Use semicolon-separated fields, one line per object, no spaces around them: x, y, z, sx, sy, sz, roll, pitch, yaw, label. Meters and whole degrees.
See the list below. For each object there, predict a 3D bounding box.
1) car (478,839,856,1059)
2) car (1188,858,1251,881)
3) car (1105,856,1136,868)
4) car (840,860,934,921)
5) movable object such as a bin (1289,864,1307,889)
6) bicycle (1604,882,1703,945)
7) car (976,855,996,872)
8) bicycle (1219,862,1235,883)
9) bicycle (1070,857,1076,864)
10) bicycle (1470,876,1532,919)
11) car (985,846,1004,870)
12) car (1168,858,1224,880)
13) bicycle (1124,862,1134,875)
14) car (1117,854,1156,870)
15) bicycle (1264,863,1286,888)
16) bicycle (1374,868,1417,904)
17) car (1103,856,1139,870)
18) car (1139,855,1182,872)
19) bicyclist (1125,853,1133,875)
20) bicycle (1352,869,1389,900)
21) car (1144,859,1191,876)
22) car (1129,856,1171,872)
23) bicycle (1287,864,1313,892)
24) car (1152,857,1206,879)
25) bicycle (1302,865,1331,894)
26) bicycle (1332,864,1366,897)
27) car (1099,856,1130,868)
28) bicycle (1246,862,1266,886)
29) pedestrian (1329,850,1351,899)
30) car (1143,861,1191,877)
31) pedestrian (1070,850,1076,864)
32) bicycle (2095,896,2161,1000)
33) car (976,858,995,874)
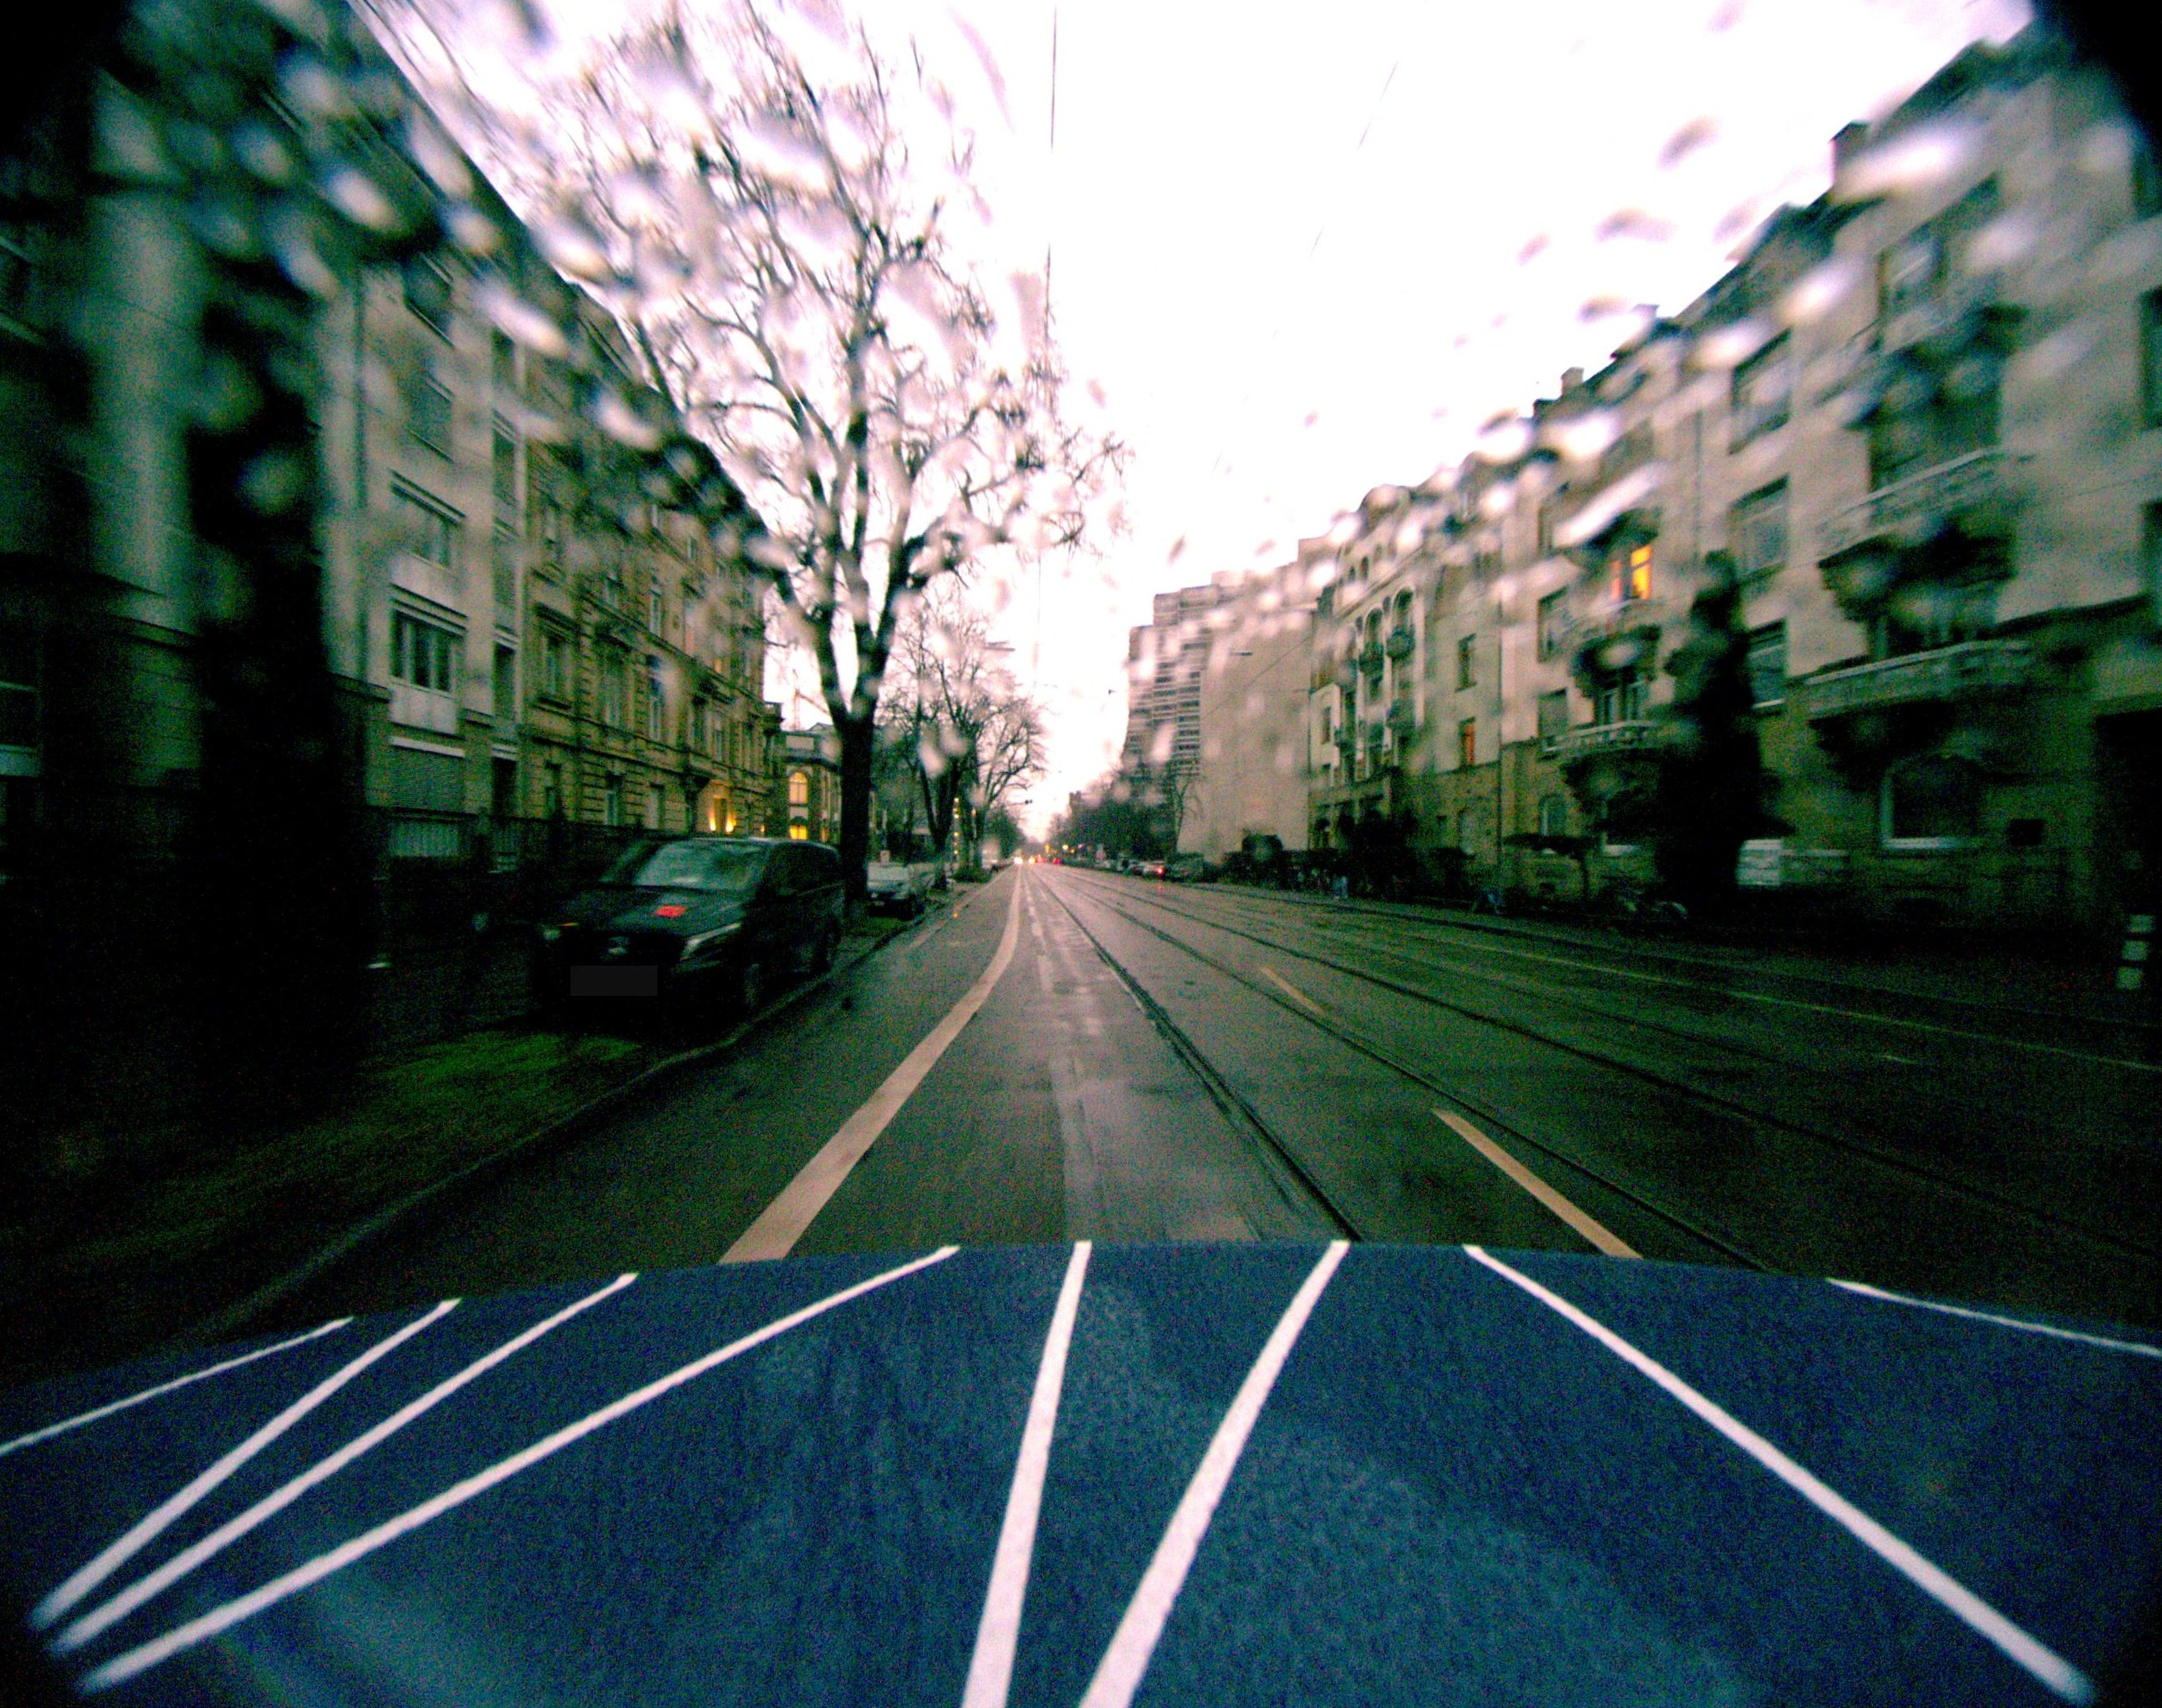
-4.269;0.825;9.003;2.036;1.864;4.961;1;0;-4;car
9.496;1.062;52.067;4.007;1.485;1.864;0;0;-33;car
5.275;1.002;100.793;4.008;1.586;1.864;0;0;-41;car
-5.097;0.905;20.450;1.763;1.437;4.156;2;-1;-5;car
10.313;1.054;36.084;0.659;1.157;0.674;0;0;-2;movable object such as a bin
11.102;1.123;14.800;0.625;1.086;1.662;0;0;-2;bicycle
-9.770;0.958;78.285;2.000;1.672;3.997;-1;1;-7;car
8.678;1.092;45.185;0.625;1.157;1.662;-1;0;-2;bicycle
-1.309;1.054;124.799;0.858;0.986;1.918;-1;1;0;bicycle
10.798;1.099;19.589;0.625;0.997;1.662;0;0;-2;bicycle
-10.085;0.440;88.258;2.094;2.622;5.445;-1;1;-7;car
8.254;1.042;54.472;4.008;1.477;1.759;0;0;-41;car
4.129;1.241;65.403;0.625;1.086;1.947;0;0;-2;bicycle
5.908;0.841;80.946;4.008;1.586;1.864;0;0;-41;car
9.528;1.033;37.402;0.625;1.205;1.662;0;0;-2;bicycle
10.407;1.036;25.200;0.625;1.119;1.783;0;0;-2;bicycle
4.700;1.019;89.380;4.008;1.586;1.864;0;0;-41;car
7.531;0.880;71.811;4.008;1.586;1.864;0;0;-41;car
4.144;0.858;65.353;0.625;1.865;0.991;0;0;-2;bicyclist
10.294;1.066;27.102;0.625;1.059;1.726;0;0;-2;bicycle
7.741;1.151;67.821;4.008;1.440;1.864;0;0;-41;car
6.739;0.959;74.362;4.008;1.586;1.864;0;0;-41;car
9.713;1.044;33.763;0.625;1.205;1.662;0;0;-2;bicycle
7.465;1.030;57.634;4.008;1.586;1.864;0;0;-41;car
9.804;1.039;31.669;0.625;1.157;1.662;0;0;-2;bicycle
10.180;0.977;28.909;0.625;1.205;1.662;0;0;-2;bicycle
4.611;1.021;103.038;4.008;1.586;1.864;0;0;-41;car
9.231;1.052;40.163;0.625;1.205;1.662;0;0;-2;bicycle
9.368;0.730;27.485;0.574;1.715;0.644;-1;2;0;pedestrian
6.784;1.181;59.750;3.674;1.245;1.707;1;0;-42;car
-1.314;0.438;124.786;0.952;2.246;1.119;0;1;1;pedestrian
13.183;1.038;8.687;2.355;1.099;0.695;-2;1;-3;bicycle
-8.621;1.056;68.540;1.629;1.399;3.997;-1;1;-7;car
